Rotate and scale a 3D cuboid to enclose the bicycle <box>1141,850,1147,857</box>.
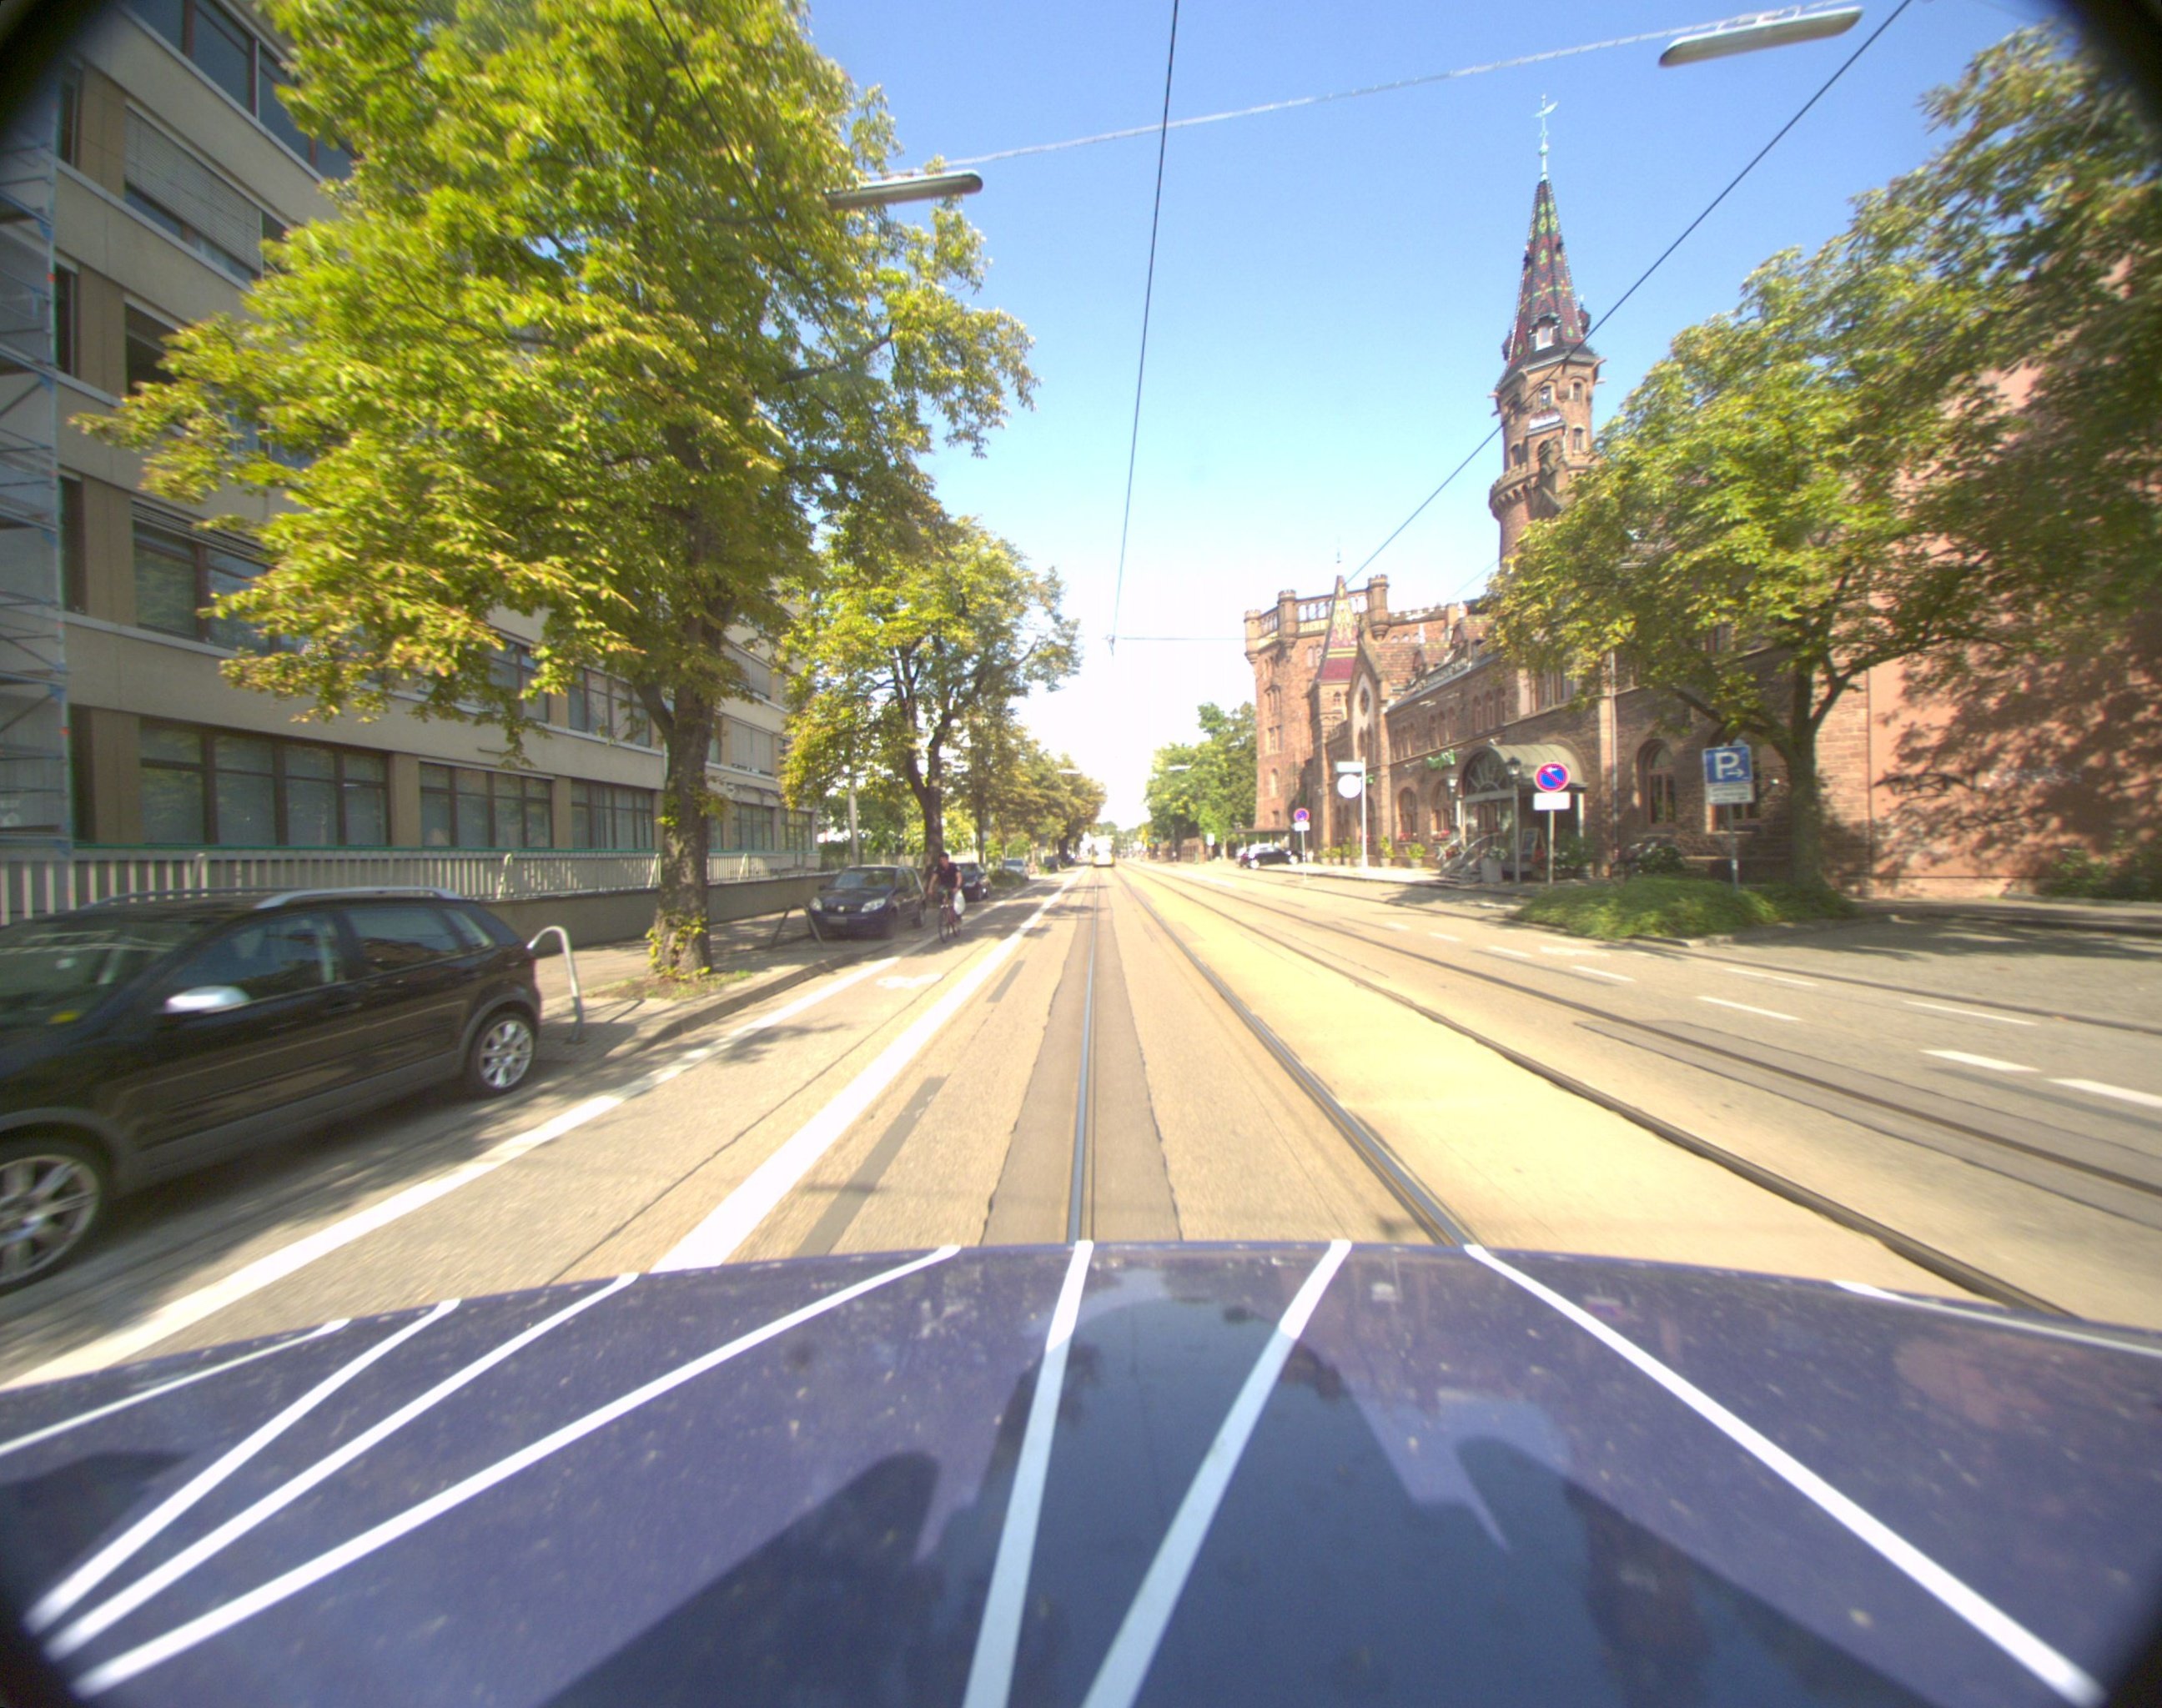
[{"bbox_3d":[10.287,-0.120,124.427,0.699,1.151,2.037,-1,2,-1],"label":"bicycle"}]

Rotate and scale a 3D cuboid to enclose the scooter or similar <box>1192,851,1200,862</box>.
[{"bbox_3d":[12.547,0.236,82.994,0.818,1.142,0.283,-5,3,-35],"label":"scooter or similar"}]

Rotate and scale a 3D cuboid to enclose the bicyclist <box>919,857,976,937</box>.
[{"bbox_3d":[-2.571,0.813,14.735,0.789,1.461,1.116,-2,1,3],"label":"bicyclist"}]

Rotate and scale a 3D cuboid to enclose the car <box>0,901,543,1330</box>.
[{"bbox_3d":[-4.950,1.128,3.894,1.579,1.476,3.739,-2,0,2],"label":"car"}]

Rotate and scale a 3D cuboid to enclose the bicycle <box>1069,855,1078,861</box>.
[{"bbox_3d":[-1.363,0.695,140.978,1.621,1.009,0.382,-1,1,-2],"label":"bicycle"}]

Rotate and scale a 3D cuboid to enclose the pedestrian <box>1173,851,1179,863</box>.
[{"bbox_3d":[12.744,0.426,102.267,0.717,1.580,0.775,-2,1,1],"label":"pedestrian"}]

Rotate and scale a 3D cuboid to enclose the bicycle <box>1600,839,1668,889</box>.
[{"bbox_3d":[14.076,0.241,19.317,1.809,1.068,0.420,-7,2,-21],"label":"bicycle"}]

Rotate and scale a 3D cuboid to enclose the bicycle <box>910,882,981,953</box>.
[{"bbox_3d":[-2.561,1.176,14.628,0.789,1.138,2.305,-2,1,3],"label":"bicycle"}]

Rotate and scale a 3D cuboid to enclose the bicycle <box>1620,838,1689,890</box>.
[{"bbox_3d":[14.260,0.238,18.884,1.809,1.068,0.420,-7,2,-21],"label":"bicycle"}]

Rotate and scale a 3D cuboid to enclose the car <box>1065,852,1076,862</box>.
[{"bbox_3d":[-1.741,0.547,129.811,1.866,1.643,4.183,0,0,0],"label":"car"}]

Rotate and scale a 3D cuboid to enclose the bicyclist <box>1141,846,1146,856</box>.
[{"bbox_3d":[10.289,-0.564,124.402,0.699,1.572,1.087,-2,3,-1],"label":"bicyclist"}]

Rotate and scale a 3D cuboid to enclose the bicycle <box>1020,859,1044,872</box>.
[{"bbox_3d":[-3.851,0.910,59.798,1.773,1.058,0.796,0,1,0],"label":"bicycle"}]

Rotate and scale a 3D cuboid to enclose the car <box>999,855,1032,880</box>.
[{"bbox_3d":[-4.042,0.785,47.366,1.644,1.421,3.988,-1,1,0],"label":"car"}]

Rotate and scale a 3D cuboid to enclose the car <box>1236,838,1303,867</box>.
[{"bbox_3d":[13.920,-0.117,56.238,4.407,1.636,1.957,-6,0,3],"label":"car"}]

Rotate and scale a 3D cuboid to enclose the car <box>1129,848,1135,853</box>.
[{"bbox_3d":[16.038,-1.047,239.374,1.694,1.433,4.000,-1,0,1],"label":"car"}]

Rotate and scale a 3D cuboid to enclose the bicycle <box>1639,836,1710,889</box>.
[{"bbox_3d":[14.417,0.195,18.445,1.809,1.068,0.420,-7,2,-21],"label":"bicycle"}]

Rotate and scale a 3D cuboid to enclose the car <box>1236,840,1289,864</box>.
[{"bbox_3d":[14.807,-0.169,62.147,3.908,1.586,1.823,-6,0,4],"label":"car"}]

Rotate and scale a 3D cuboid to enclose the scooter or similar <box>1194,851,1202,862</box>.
[{"bbox_3d":[12.544,0.300,81.739,0.818,1.142,0.283,-5,3,-35],"label":"scooter or similar"}]

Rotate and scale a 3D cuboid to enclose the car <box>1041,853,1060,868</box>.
[{"bbox_3d":[-3.046,0.626,77.755,1.745,1.477,4.437,0,0,0],"label":"car"}]

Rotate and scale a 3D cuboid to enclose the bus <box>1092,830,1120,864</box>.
[{"bbox_3d":[3.063,-0.836,89.358,2.900,3.771,9.320,-2,1,4],"label":"bus"}]

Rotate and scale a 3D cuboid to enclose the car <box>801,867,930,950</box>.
[{"bbox_3d":[-4.584,1.098,16.718,1.650,1.502,3.778,0,1,2],"label":"car"}]

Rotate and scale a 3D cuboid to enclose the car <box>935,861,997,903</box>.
[{"bbox_3d":[-4.264,0.994,28.724,1.650,1.420,4.084,0,1,1],"label":"car"}]
